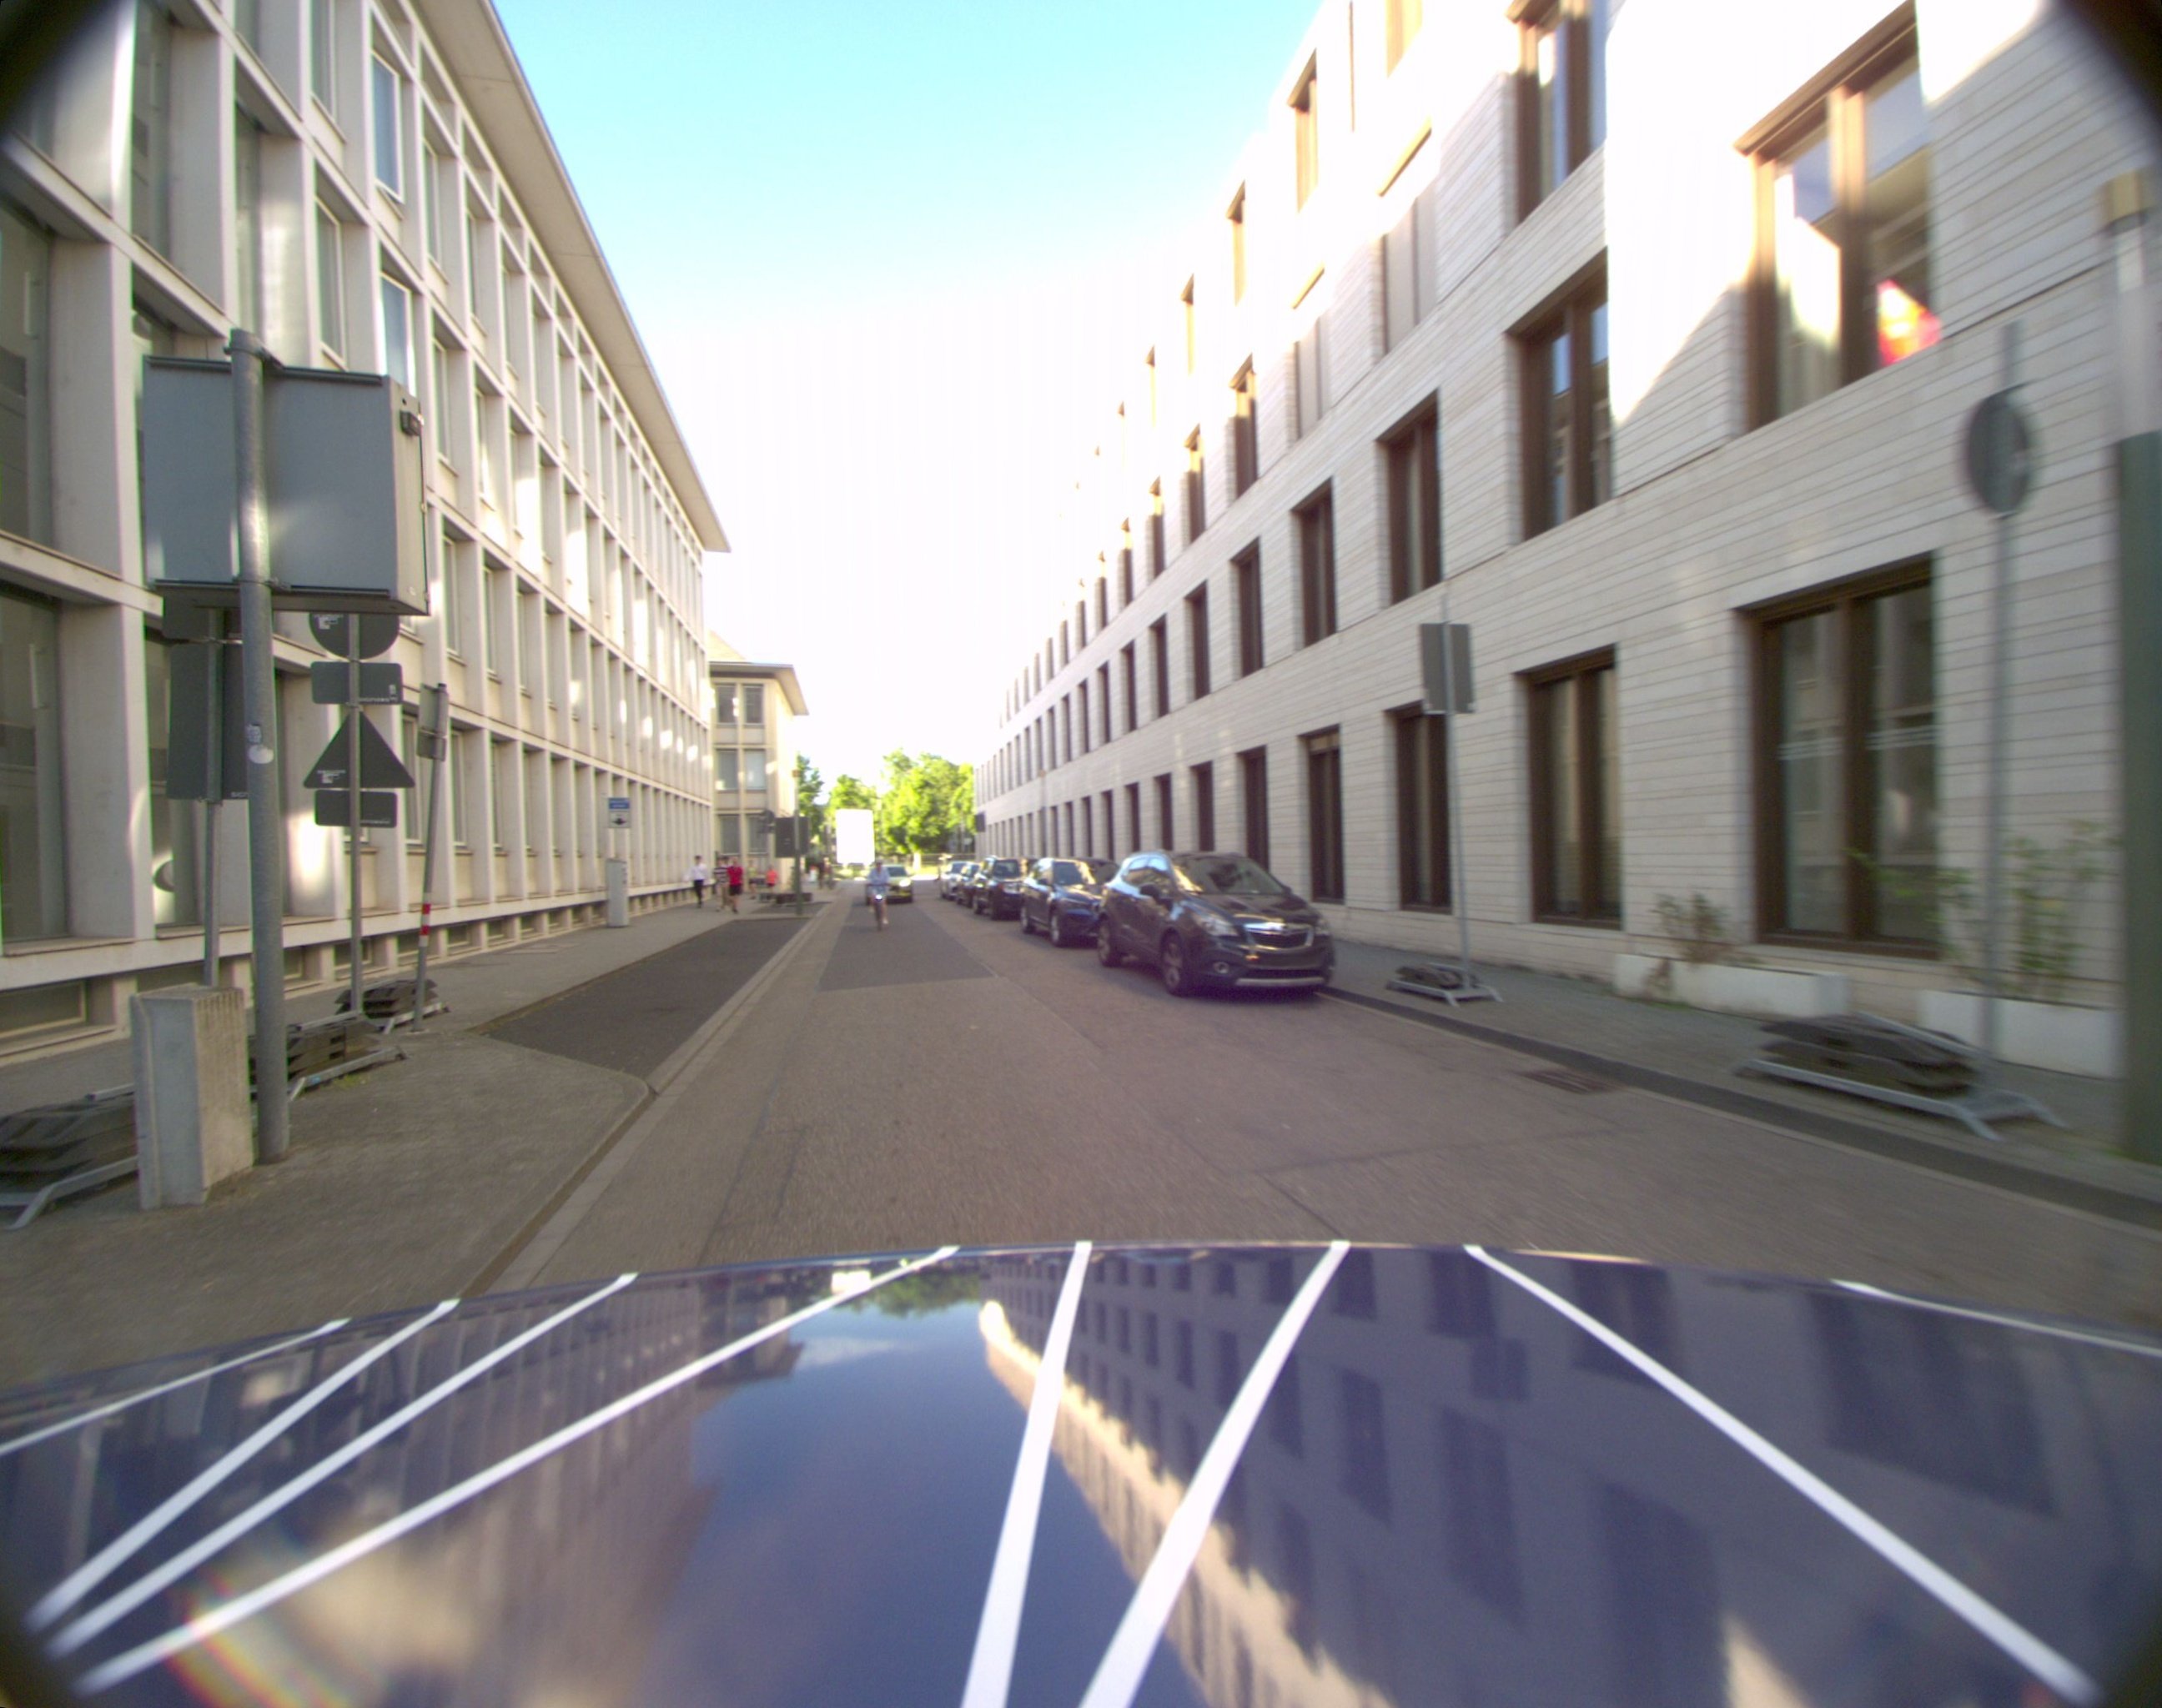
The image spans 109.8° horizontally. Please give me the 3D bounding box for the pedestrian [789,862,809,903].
[{"bbox_3d":[-11.982,1.191,32.315,0.685,1.705,0.693,2,0,-14],"label":"pedestrian"}]

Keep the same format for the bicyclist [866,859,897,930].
[{"bbox_3d":[-4.856,0.973,18.464,0.586,1.679,0.537,-3,2,-21],"label":"bicyclist"}]

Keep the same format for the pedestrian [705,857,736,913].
[{"bbox_3d":[-11.909,1.017,25.144,0.686,1.768,0.693,4,-1,-14],"label":"pedestrian"}]

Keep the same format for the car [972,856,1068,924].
[{"bbox_3d":[-1.800,0.925,21.057,1.830,1.704,4.012,0,-1,-17],"label":"car"}]

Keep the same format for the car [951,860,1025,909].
[{"bbox_3d":[-3.412,1.041,27.116,1.829,1.532,4.257,-2,0,-17],"label":"car"}]

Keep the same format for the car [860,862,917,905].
[{"bbox_3d":[-7.892,1.130,30.866,2.001,1.451,4.429,-3,1,-17],"label":"car"}]

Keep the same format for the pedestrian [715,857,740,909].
[{"bbox_3d":[-12.262,0.997,26.371,0.685,1.768,0.693,0,0,-14],"label":"pedestrian"}]

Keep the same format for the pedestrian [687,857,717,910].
[{"bbox_3d":[-13.042,1.000,26.147,0.686,1.768,0.693,4,-1,-14],"label":"pedestrian"}]

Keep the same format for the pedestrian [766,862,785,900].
[{"bbox_3d":[-13.355,1.170,33.220,0.685,1.627,0.693,1,0,-14],"label":"pedestrian"}]

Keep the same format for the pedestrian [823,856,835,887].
[{"bbox_3d":[-14.519,1.012,43.787,0.644,1.779,0.575,1,1,-15],"label":"pedestrian"}]

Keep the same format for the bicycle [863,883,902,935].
[{"bbox_3d":[-4.849,1.293,18.484,0.596,1.077,2.306,-3,1,-21],"label":"bicycle"}]

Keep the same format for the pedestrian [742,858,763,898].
[{"bbox_3d":[-14.230,1.045,32.951,0.685,1.705,0.693,2,0,-14],"label":"pedestrian"}]

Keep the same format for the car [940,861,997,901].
[{"bbox_3d":[-4.820,1.089,32.073,1.829,1.532,4.441,-1,-1,-16],"label":"car"}]

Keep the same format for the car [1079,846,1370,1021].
[{"bbox_3d":[1.457,0.789,9.521,1.830,1.667,4.258,0,-1,-17],"label":"car"}]

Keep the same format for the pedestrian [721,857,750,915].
[{"bbox_3d":[-10.811,0.989,23.780,0.685,1.768,0.593,2,0,-14],"label":"pedestrian"}]

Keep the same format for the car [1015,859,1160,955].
[{"bbox_3d":[-0.037,0.907,14.765,1.746,1.585,4.148,0,-1,-15],"label":"car"}]
